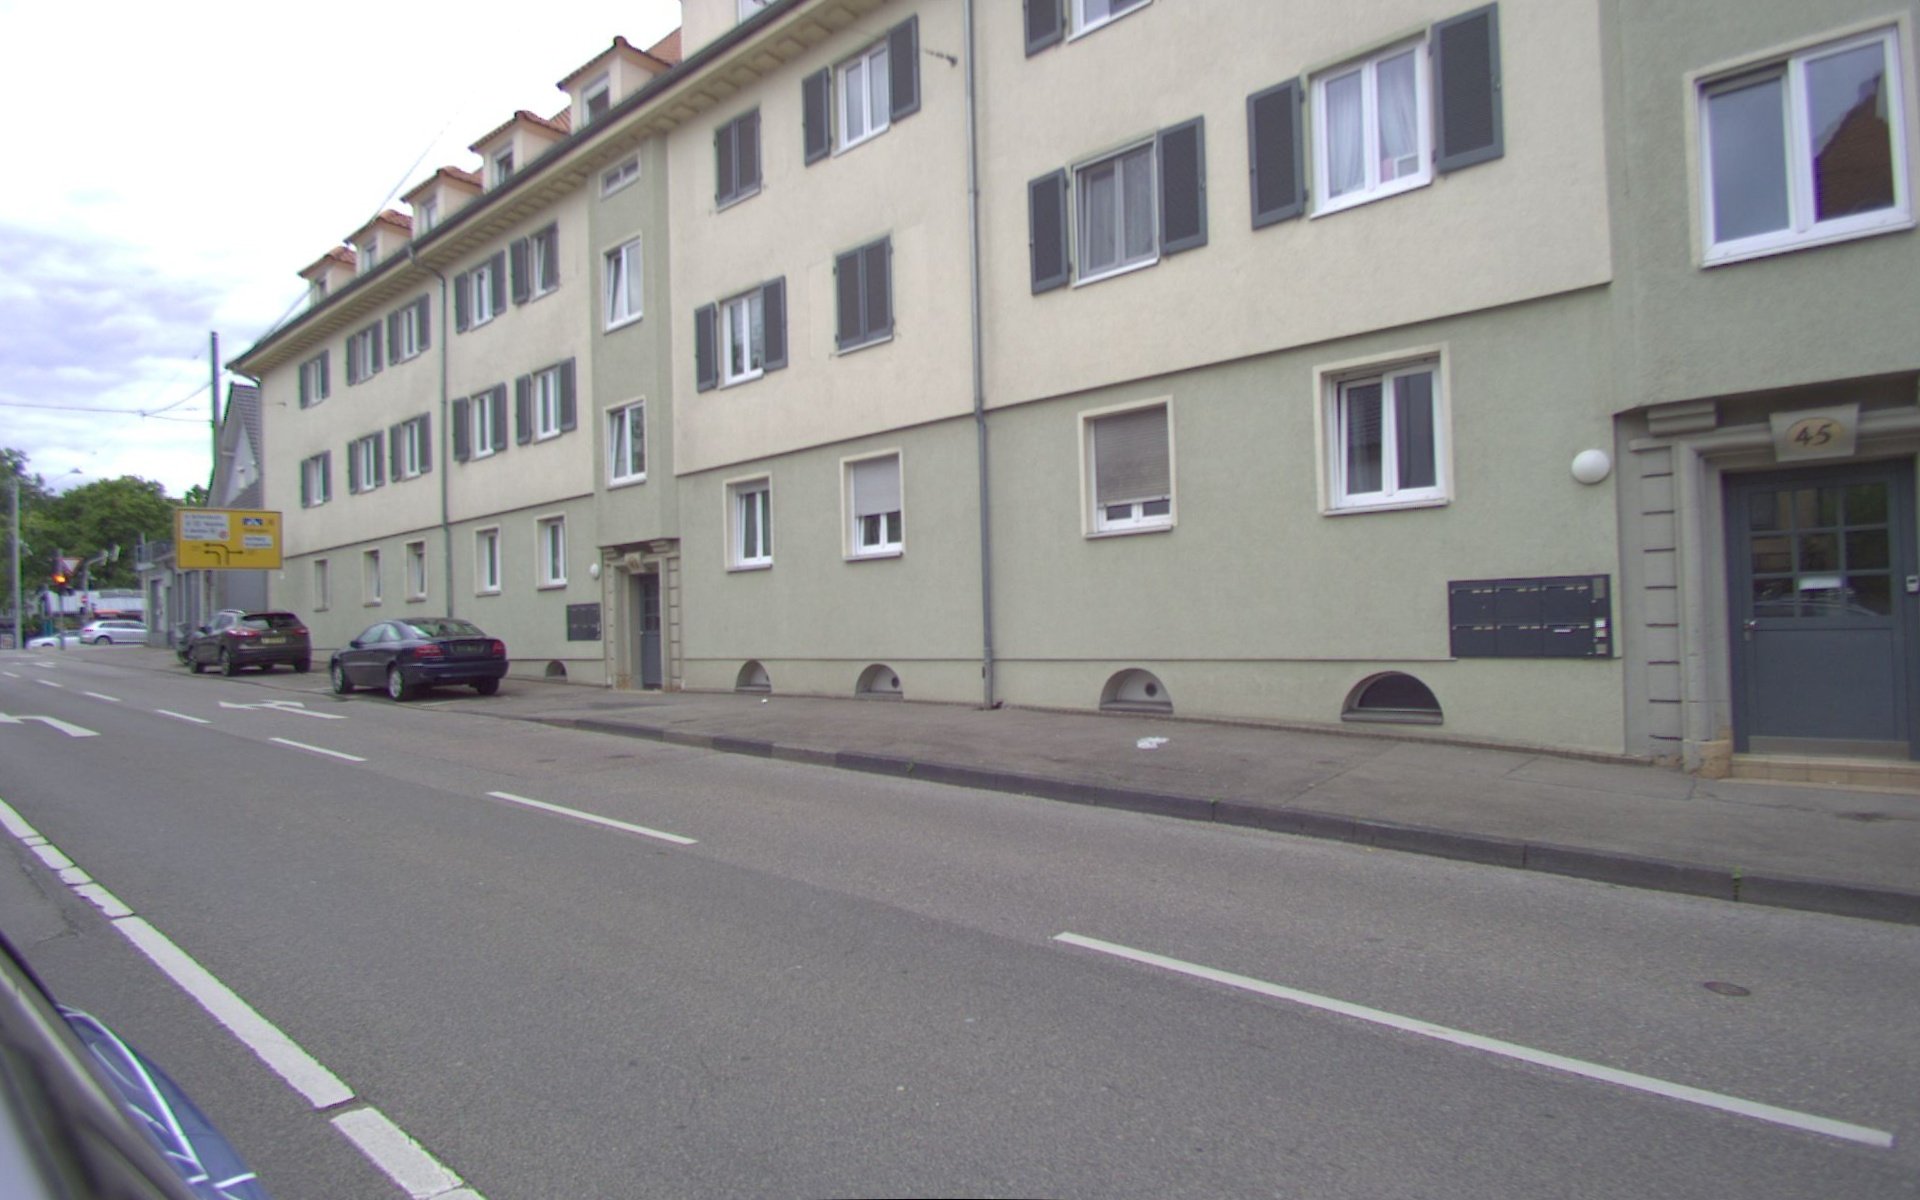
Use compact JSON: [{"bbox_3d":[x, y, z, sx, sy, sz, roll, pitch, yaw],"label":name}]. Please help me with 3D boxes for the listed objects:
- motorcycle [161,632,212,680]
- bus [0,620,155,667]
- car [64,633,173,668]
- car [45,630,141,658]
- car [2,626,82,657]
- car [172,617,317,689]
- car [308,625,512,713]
[{"bbox_3d":[-22.220,1.595,29.055,2.227,1.300,0.619,-2,0,39],"label":"motorcycle"},{"bbox_3d":[-63.280,2.969,70.000,2.000,3.086,11.688,-5,-4,43],"label":"bus"},{"bbox_3d":[-43.647,2.569,52.560,1.970,1.706,3.953,-2,-2,35],"label":"car"},{"bbox_3d":[-49.060,2.474,57.366,3.933,1.523,2.005,1,-2,-35],"label":"car"},{"bbox_3d":[-67.008,3.050,73.922,1.996,2.206,3.952,-2,-3,35],"label":"car"},{"bbox_3d":[-18.311,1.319,25.815,4.691,1.645,1.804,-2,-1,39],"label":"car"},{"bbox_3d":[-10.298,1.203,18.787,4.841,1.414,1.693,-2,-2,40],"label":"car"}]
